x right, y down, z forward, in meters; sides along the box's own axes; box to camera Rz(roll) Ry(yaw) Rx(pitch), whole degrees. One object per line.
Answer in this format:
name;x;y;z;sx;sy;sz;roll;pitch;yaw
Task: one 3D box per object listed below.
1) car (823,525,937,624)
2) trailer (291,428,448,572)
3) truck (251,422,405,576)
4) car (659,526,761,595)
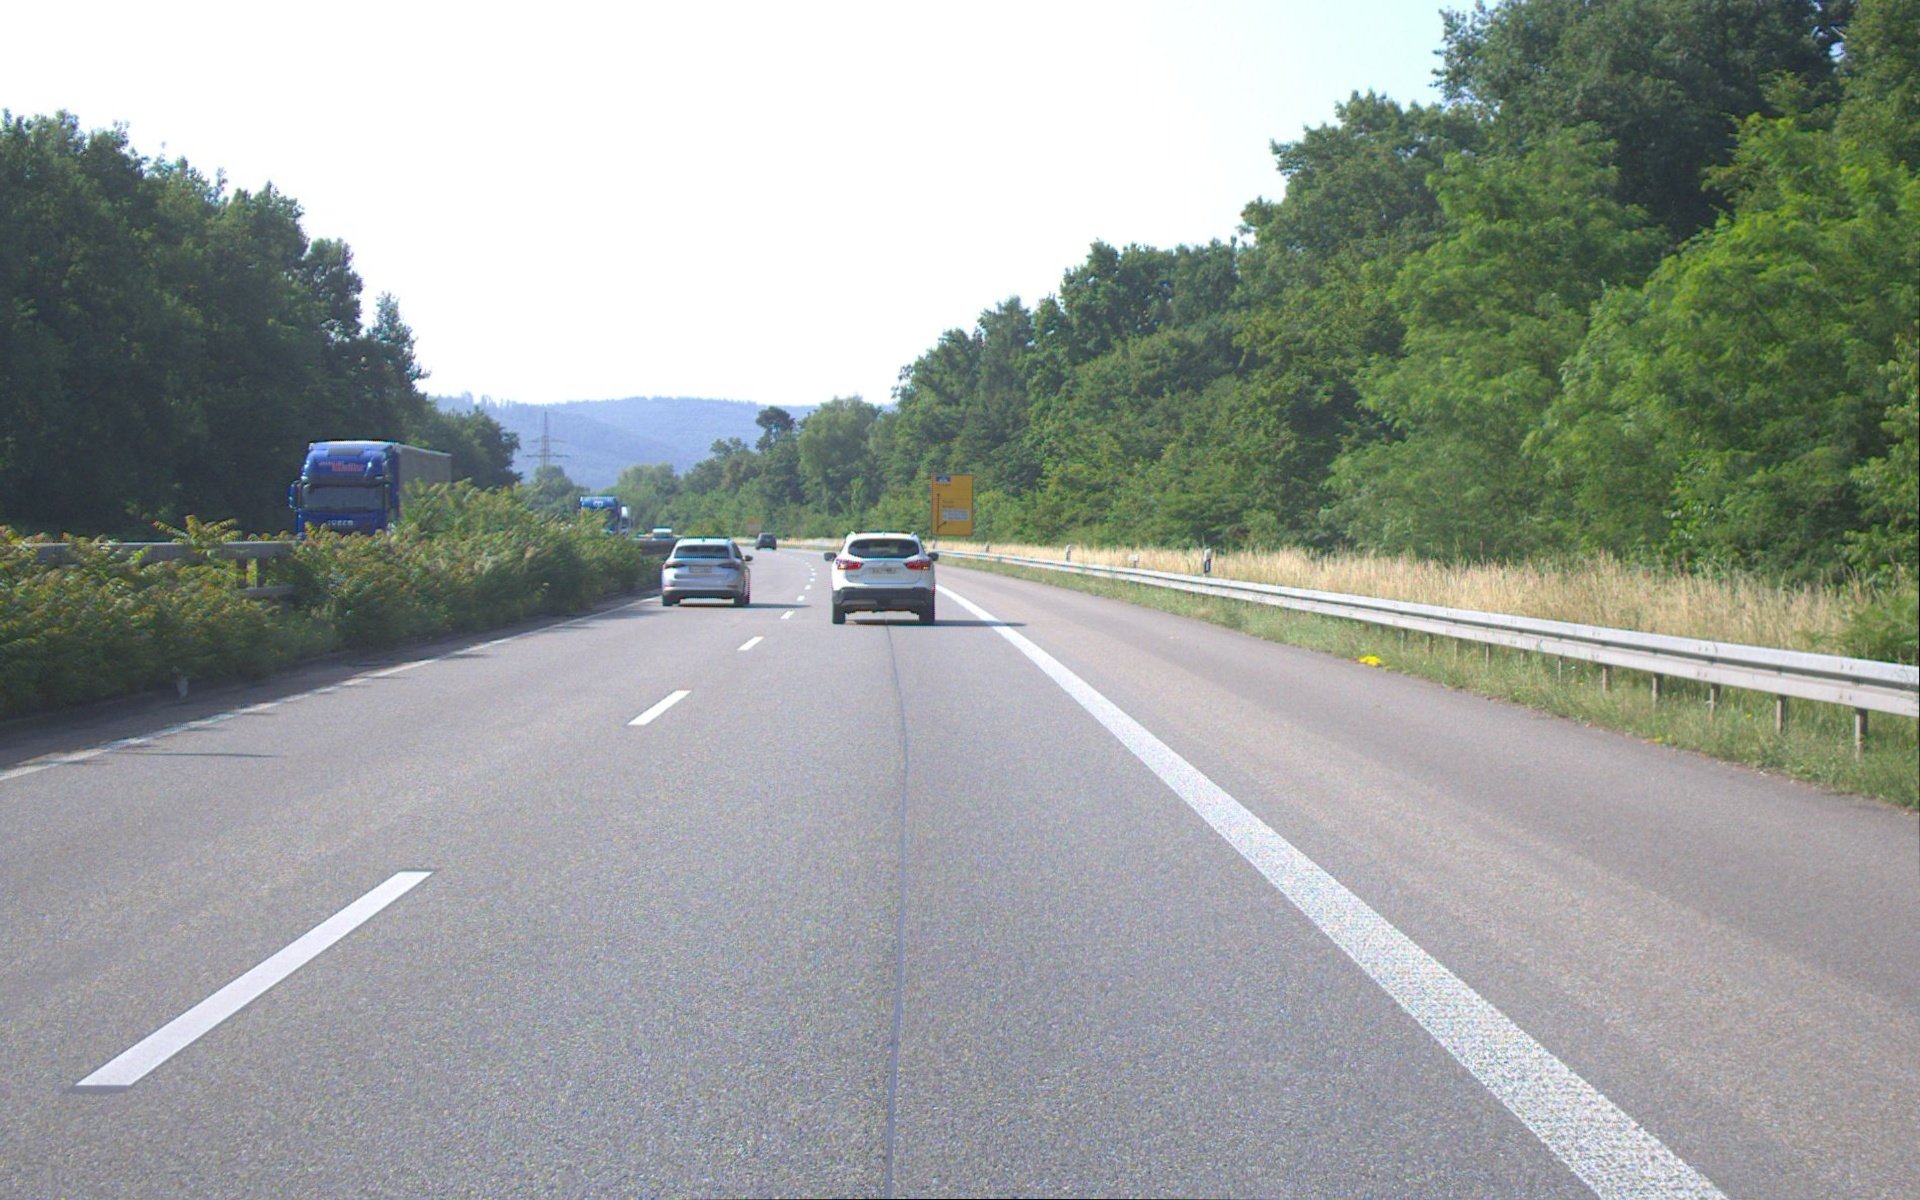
car;-1.399;-0.482;60.523;1.873;1.580;4.001;2;2;-1
trailer;-17.294;-2.910;101.409;2.831;3.985;11.435;1;1;-1
truck;-17.216;-2.738;94.201;2.784;3.985;8.417;1;1;-1
car;-5.425;-0.880;75.146;1.792;1.433;5.279;0;1;1
